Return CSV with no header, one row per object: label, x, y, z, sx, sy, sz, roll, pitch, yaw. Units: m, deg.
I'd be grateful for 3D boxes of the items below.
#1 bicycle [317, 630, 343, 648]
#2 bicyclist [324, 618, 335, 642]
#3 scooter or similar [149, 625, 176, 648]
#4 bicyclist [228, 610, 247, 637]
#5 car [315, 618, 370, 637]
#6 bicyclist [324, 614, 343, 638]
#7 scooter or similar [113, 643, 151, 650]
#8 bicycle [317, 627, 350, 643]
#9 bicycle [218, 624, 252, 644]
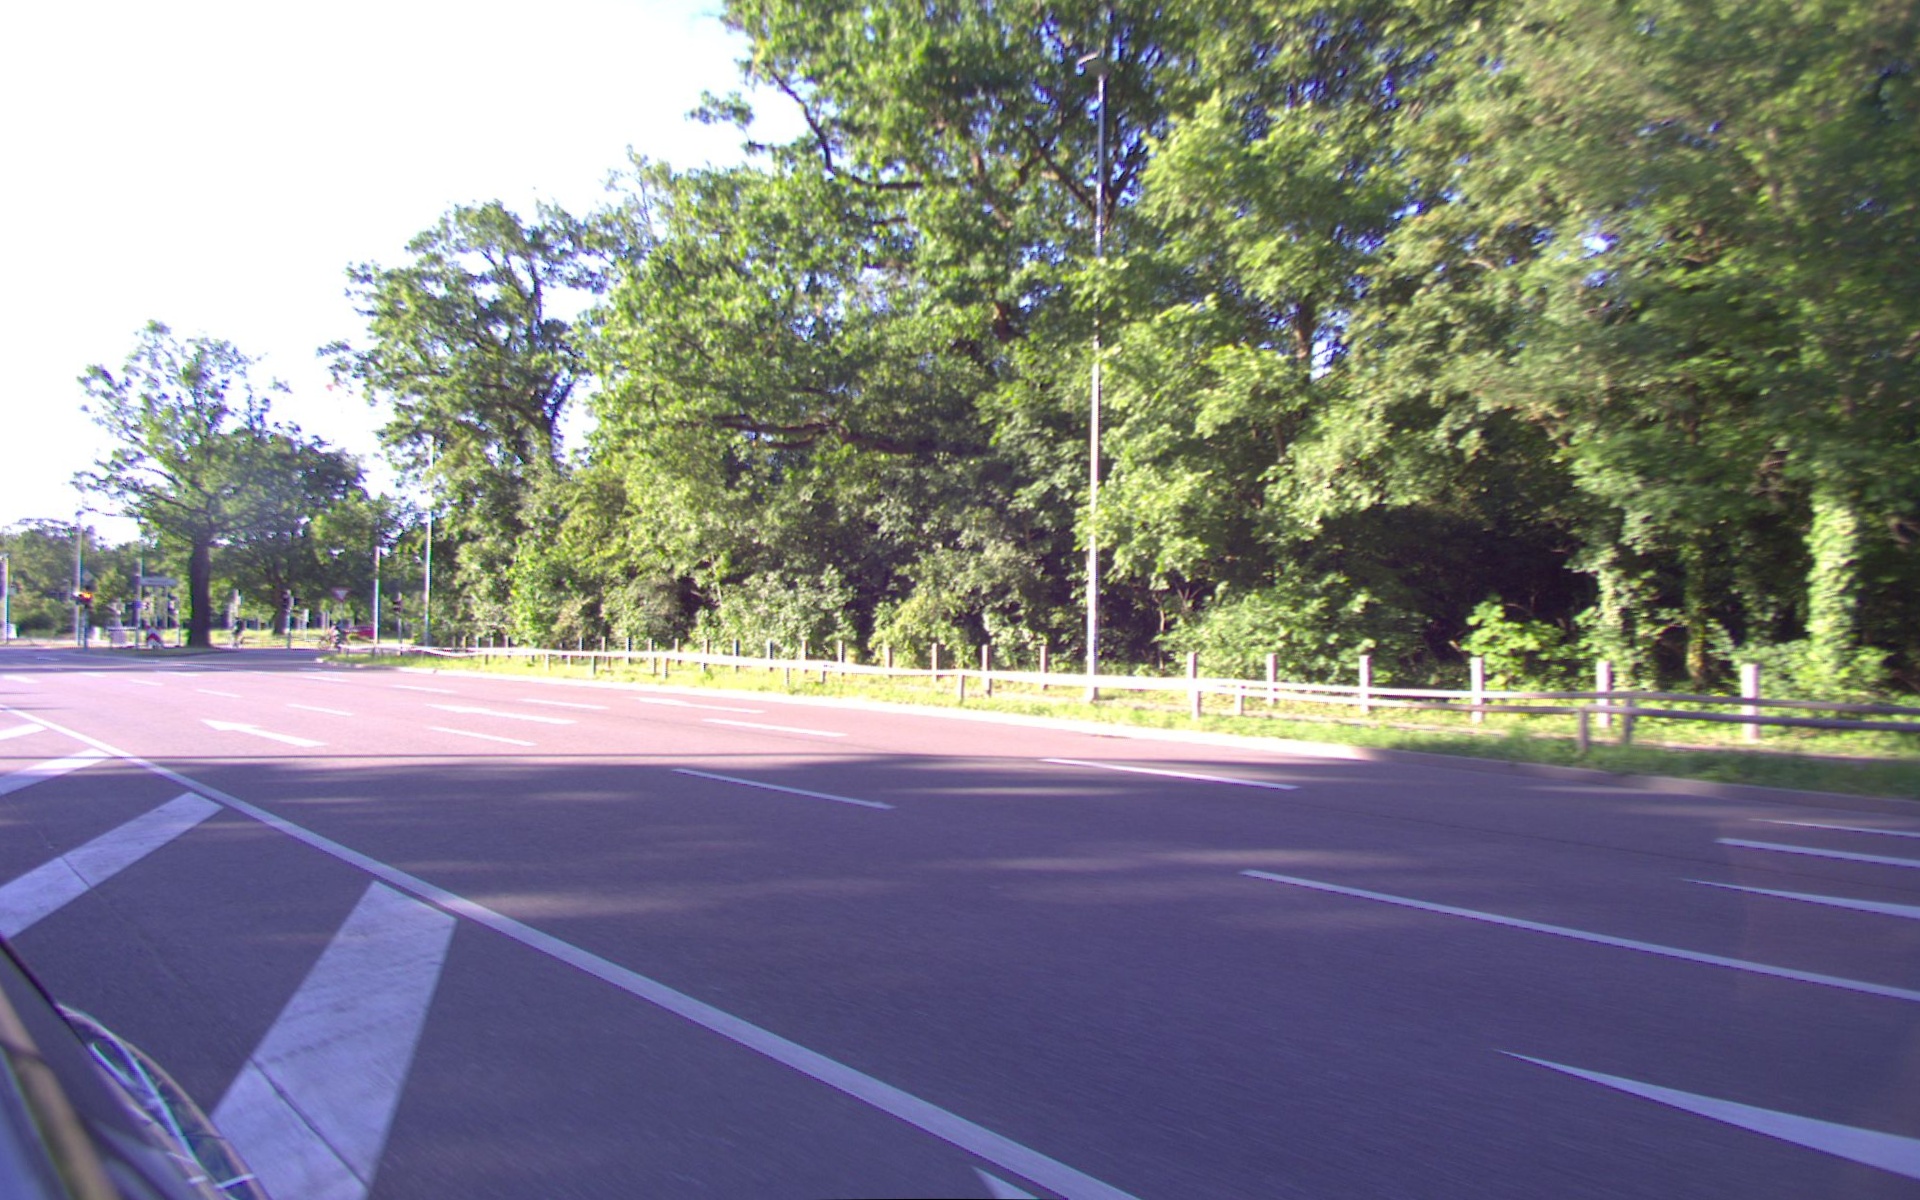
bicycle,-37.595,2.324,60.394,1.332,0.984,0.524,-1,0,-33
bicyclist,-37.619,1.804,60.382,0.520,1.411,0.520,-1,0,-32
scooter or similar,-41.343,1.891,52.438,1.055,1.155,0.394,1,-3,-45
bicyclist,-43.029,1.423,60.264,0.794,1.563,0.560,-3,-3,20
car,-52.947,2.319,86.891,3.931,1.521,1.662,-1,0,-29
bicyclist,-38.711,1.590,62.553,0.787,1.494,0.731,-1,0,-11
scooter or similar,-43.029,2.400,52.588,1.391,0.342,1.261,1,-3,-45
bicycle,-38.702,2.160,62.553,1.564,0.984,0.787,-1,0,-11
bicycle,-43.290,2.027,60.399,1.969,1.163,0.677,-3,-2,20
